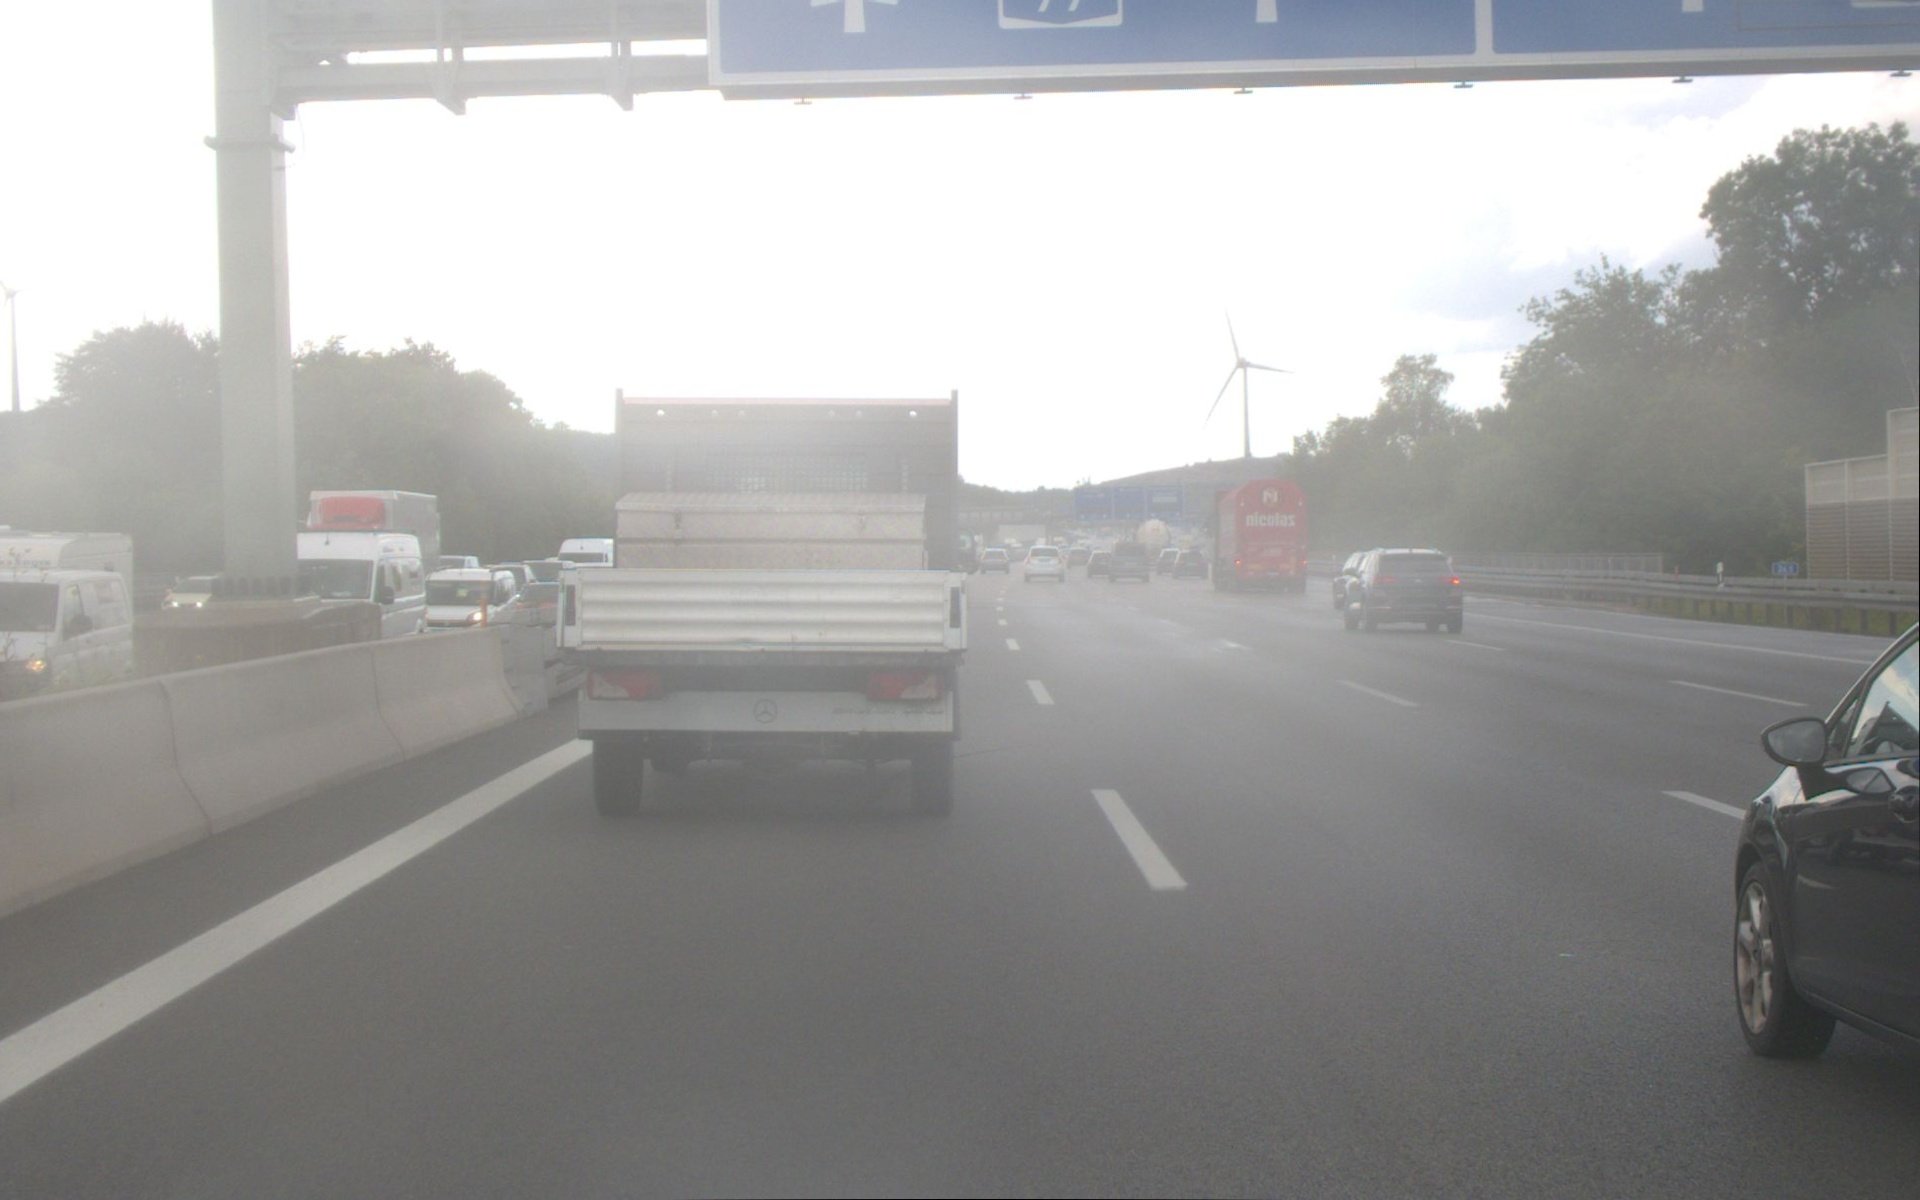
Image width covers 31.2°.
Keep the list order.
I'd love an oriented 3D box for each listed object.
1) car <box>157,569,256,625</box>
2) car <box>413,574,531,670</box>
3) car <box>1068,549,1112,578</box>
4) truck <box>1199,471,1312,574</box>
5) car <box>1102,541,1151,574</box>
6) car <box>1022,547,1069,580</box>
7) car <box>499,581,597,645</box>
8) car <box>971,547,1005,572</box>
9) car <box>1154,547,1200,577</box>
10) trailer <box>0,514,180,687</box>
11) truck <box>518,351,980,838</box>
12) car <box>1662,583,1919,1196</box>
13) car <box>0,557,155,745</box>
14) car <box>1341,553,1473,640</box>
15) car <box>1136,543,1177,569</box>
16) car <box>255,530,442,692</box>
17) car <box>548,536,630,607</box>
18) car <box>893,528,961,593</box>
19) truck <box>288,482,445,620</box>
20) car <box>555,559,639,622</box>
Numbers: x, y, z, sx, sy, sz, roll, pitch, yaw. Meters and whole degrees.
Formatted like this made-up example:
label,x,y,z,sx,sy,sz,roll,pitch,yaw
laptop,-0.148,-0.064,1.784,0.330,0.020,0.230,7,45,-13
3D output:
label,x,y,z,sx,sy,sz,roll,pitch,yaw
car,-22.293,-0.117,101.860,1.894,1.588,4.903,-1,1,-1
car,-10.462,0.432,74.033,1.818,1.945,5.223,-1,1,-1
car,7.161,-2.030,189.887,1.967,1.555,4.434,-1,1,-4
truck,10.874,-2.893,127.674,3.152,3.589,12.700,1,2,0
car,8.065,-2.069,167.014,1.968,1.555,4.433,-1,1,-3
car,4.177,-1.781,168.459,1.968,1.555,4.433,-1,1,-3
car,-10.047,0.300,84.090,1.894,1.455,4.478,-1,1,-1
car,1.805,-2.632,223.591,1.968,1.555,4.433,-1,1,-2
car,11.633,-2.026,184.696,1.968,1.555,4.433,-1,1,-3
trailer,-14.837,-0.030,56.459,2.342,2.644,7.184,-1,1,0
truck,-1.095,-0.093,20.840,2.307,2.431,7.149,0,1,-1
car,3.084,0.672,8.674,1.717,1.412,4.278,0,0,0
car,-11.013,0.539,40.520,1.818,2.070,5.375,-1,1,-1
car,8.230,-0.092,63.647,1.882,1.537,4.433,-1,1,1
car,11.889,-2.647,208.049,1.968,1.555,4.433,-1,1,-3
car,-10.682,0.141,60.597,2.024,2.669,7.311,-1,1,-1
car,-14.346,-1.125,133.216,2.127,2.627,7.609,-1,1,1
car,-0.854,-1.049,90.479,1.717,1.618,4.279,0,2,0
truck,-18.709,-1.539,109.200,2.798,4.098,12.295,-1,1,0
car,-10.698,-0.312,101.585,1.894,1.794,5.842,-1,1,-1
